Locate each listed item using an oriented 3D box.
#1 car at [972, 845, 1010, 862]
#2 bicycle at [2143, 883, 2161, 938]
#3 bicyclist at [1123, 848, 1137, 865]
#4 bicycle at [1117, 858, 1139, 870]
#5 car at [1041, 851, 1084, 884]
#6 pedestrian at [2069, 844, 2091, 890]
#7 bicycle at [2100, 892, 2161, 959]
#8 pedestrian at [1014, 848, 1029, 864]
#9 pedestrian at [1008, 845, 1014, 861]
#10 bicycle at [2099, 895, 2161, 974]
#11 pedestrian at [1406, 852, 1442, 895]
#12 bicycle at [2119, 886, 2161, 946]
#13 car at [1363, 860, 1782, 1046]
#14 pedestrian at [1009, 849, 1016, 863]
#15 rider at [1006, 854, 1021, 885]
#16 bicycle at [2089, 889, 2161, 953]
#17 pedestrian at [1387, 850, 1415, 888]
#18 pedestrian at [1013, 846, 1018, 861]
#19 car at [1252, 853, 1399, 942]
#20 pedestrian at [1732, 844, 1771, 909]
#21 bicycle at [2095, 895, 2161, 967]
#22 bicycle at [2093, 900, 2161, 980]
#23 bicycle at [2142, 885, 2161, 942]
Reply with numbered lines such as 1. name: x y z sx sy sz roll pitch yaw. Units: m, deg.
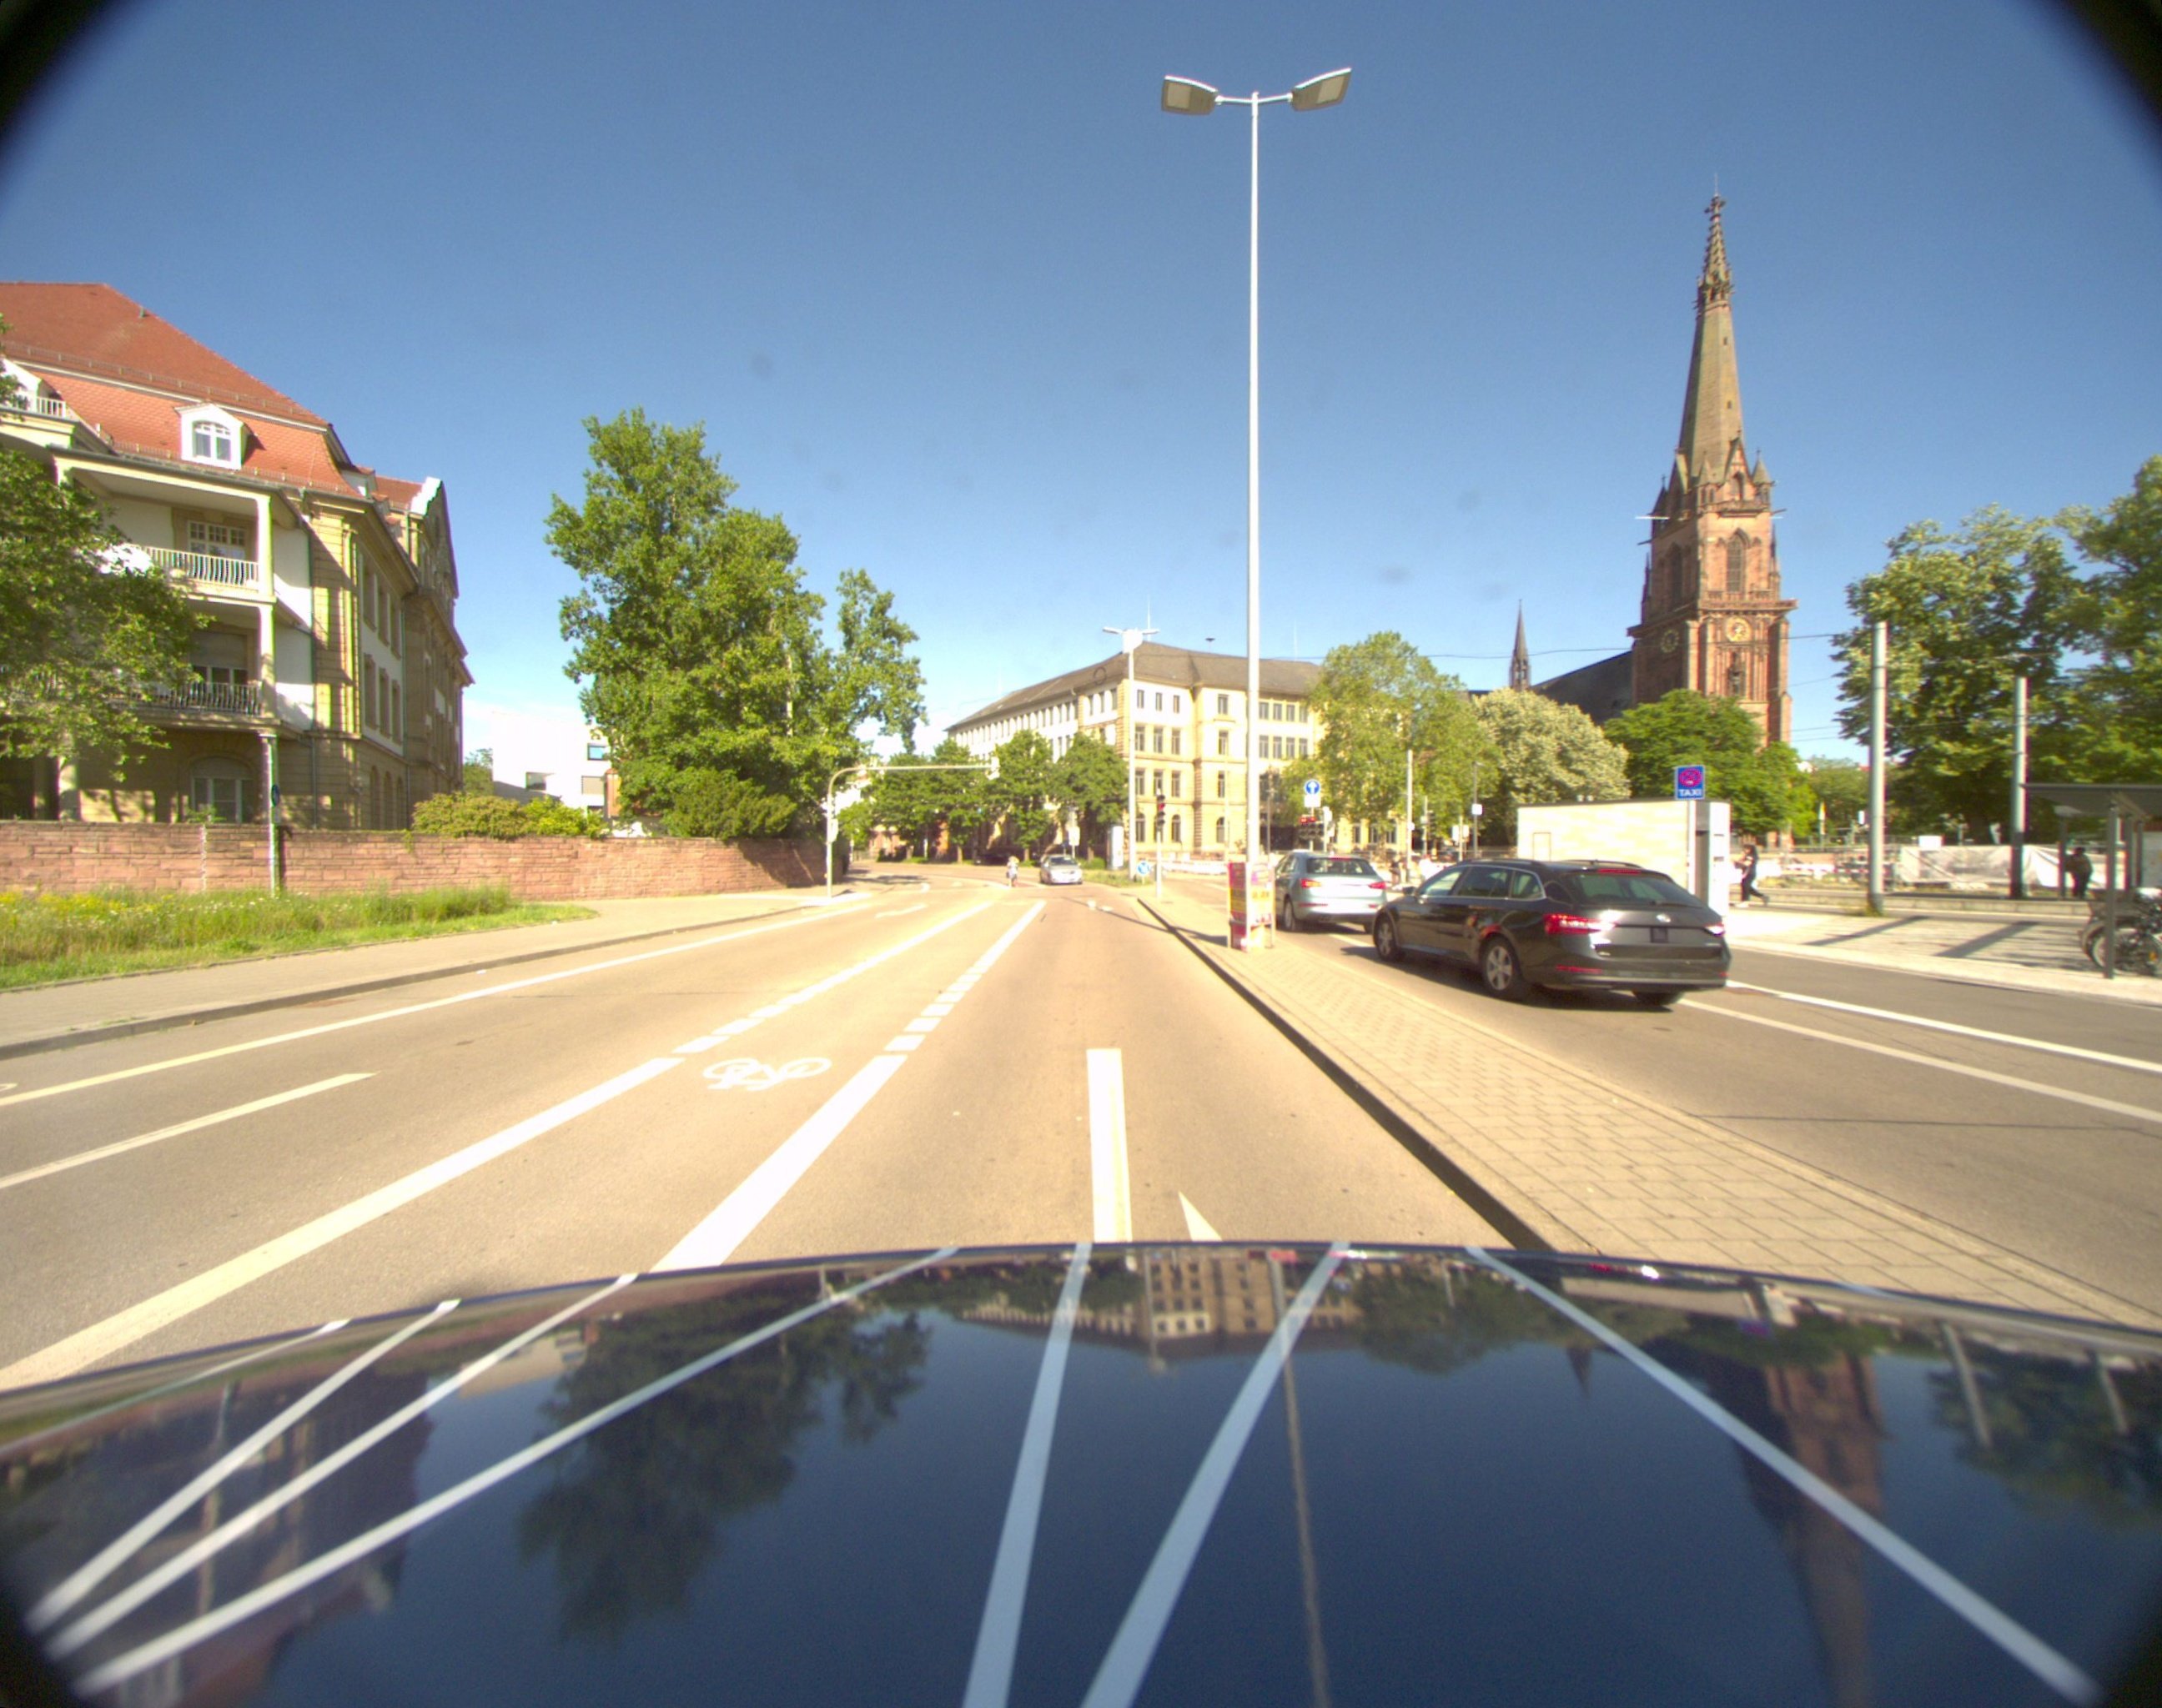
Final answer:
1. car: -10.729 -0.039 90.760 1.994 2.002 4.721 0 1 32
2. bicycle: 20.485 1.059 13.609 0.458 1.003 1.667 -1 1 -33
3. bicyclist: 4.196 0.212 65.308 0.893 1.377 0.735 1 1 44
4. bicycle: 4.072 0.879 65.431 1.830 0.985 0.735 0 1 44
5. car: -1.043 0.675 41.057 1.707 1.657 3.910 -1 1 -11
6. pedestrian: 37.569 0.495 28.577 0.404 1.711 0.419 1 1 38
7. bicycle: 17.257 1.144 11.654 0.458 1.003 1.899 -1 1 -33
8. pedestrian: -6.788 0.190 86.638 0.934 1.812 1.394 1 1 45
9. pedestrian: -8.399 -0.098 91.384 0.522 1.882 0.360 -1 1 -33
10. bicycle: 15.198 1.126 10.279 0.458 1.055 1.667 -1 1 -33
11. pedestrian: 14.352 0.797 31.840 0.977 1.769 1.131 0 1 -1
12. bicycle: 19.125 1.095 12.947 0.458 1.003 1.667 -1 1 -33
13. car: 5.058 0.870 8.791 1.793 1.490 4.574 1 1 -1
14. pedestrian: -8.293 0.230 91.475 0.677 1.715 0.588 -1 3 -22
15. rider: -3.494 0.795 39.641 0.658 1.610 0.989 -1 1 1
16. bicycle: 17.911 1.123 12.427 0.458 1.003 1.667 -1 1 -33
17. pedestrian: 15.215 0.714 36.115 0.977 1.769 0.803 0 1 -1
18. pedestrian: -7.871 -0.047 91.715 0.522 1.865 0.360 -1 1 -33
19. car: 4.872 0.784 15.775 1.859 1.533 4.241 1 1 3
20. pedestrian: 18.280 0.595 20.718 0.760 1.757 0.661 1 1 43
21. bicycle: 16.071 1.144 10.975 0.458 1.003 1.667 -1 1 -33
22. bicycle: 14.697 1.168 9.964 0.458 1.003 1.667 -1 1 -33
23. bicycle: 19.892 1.072 13.199 0.458 1.003 1.667 -1 1 -33
